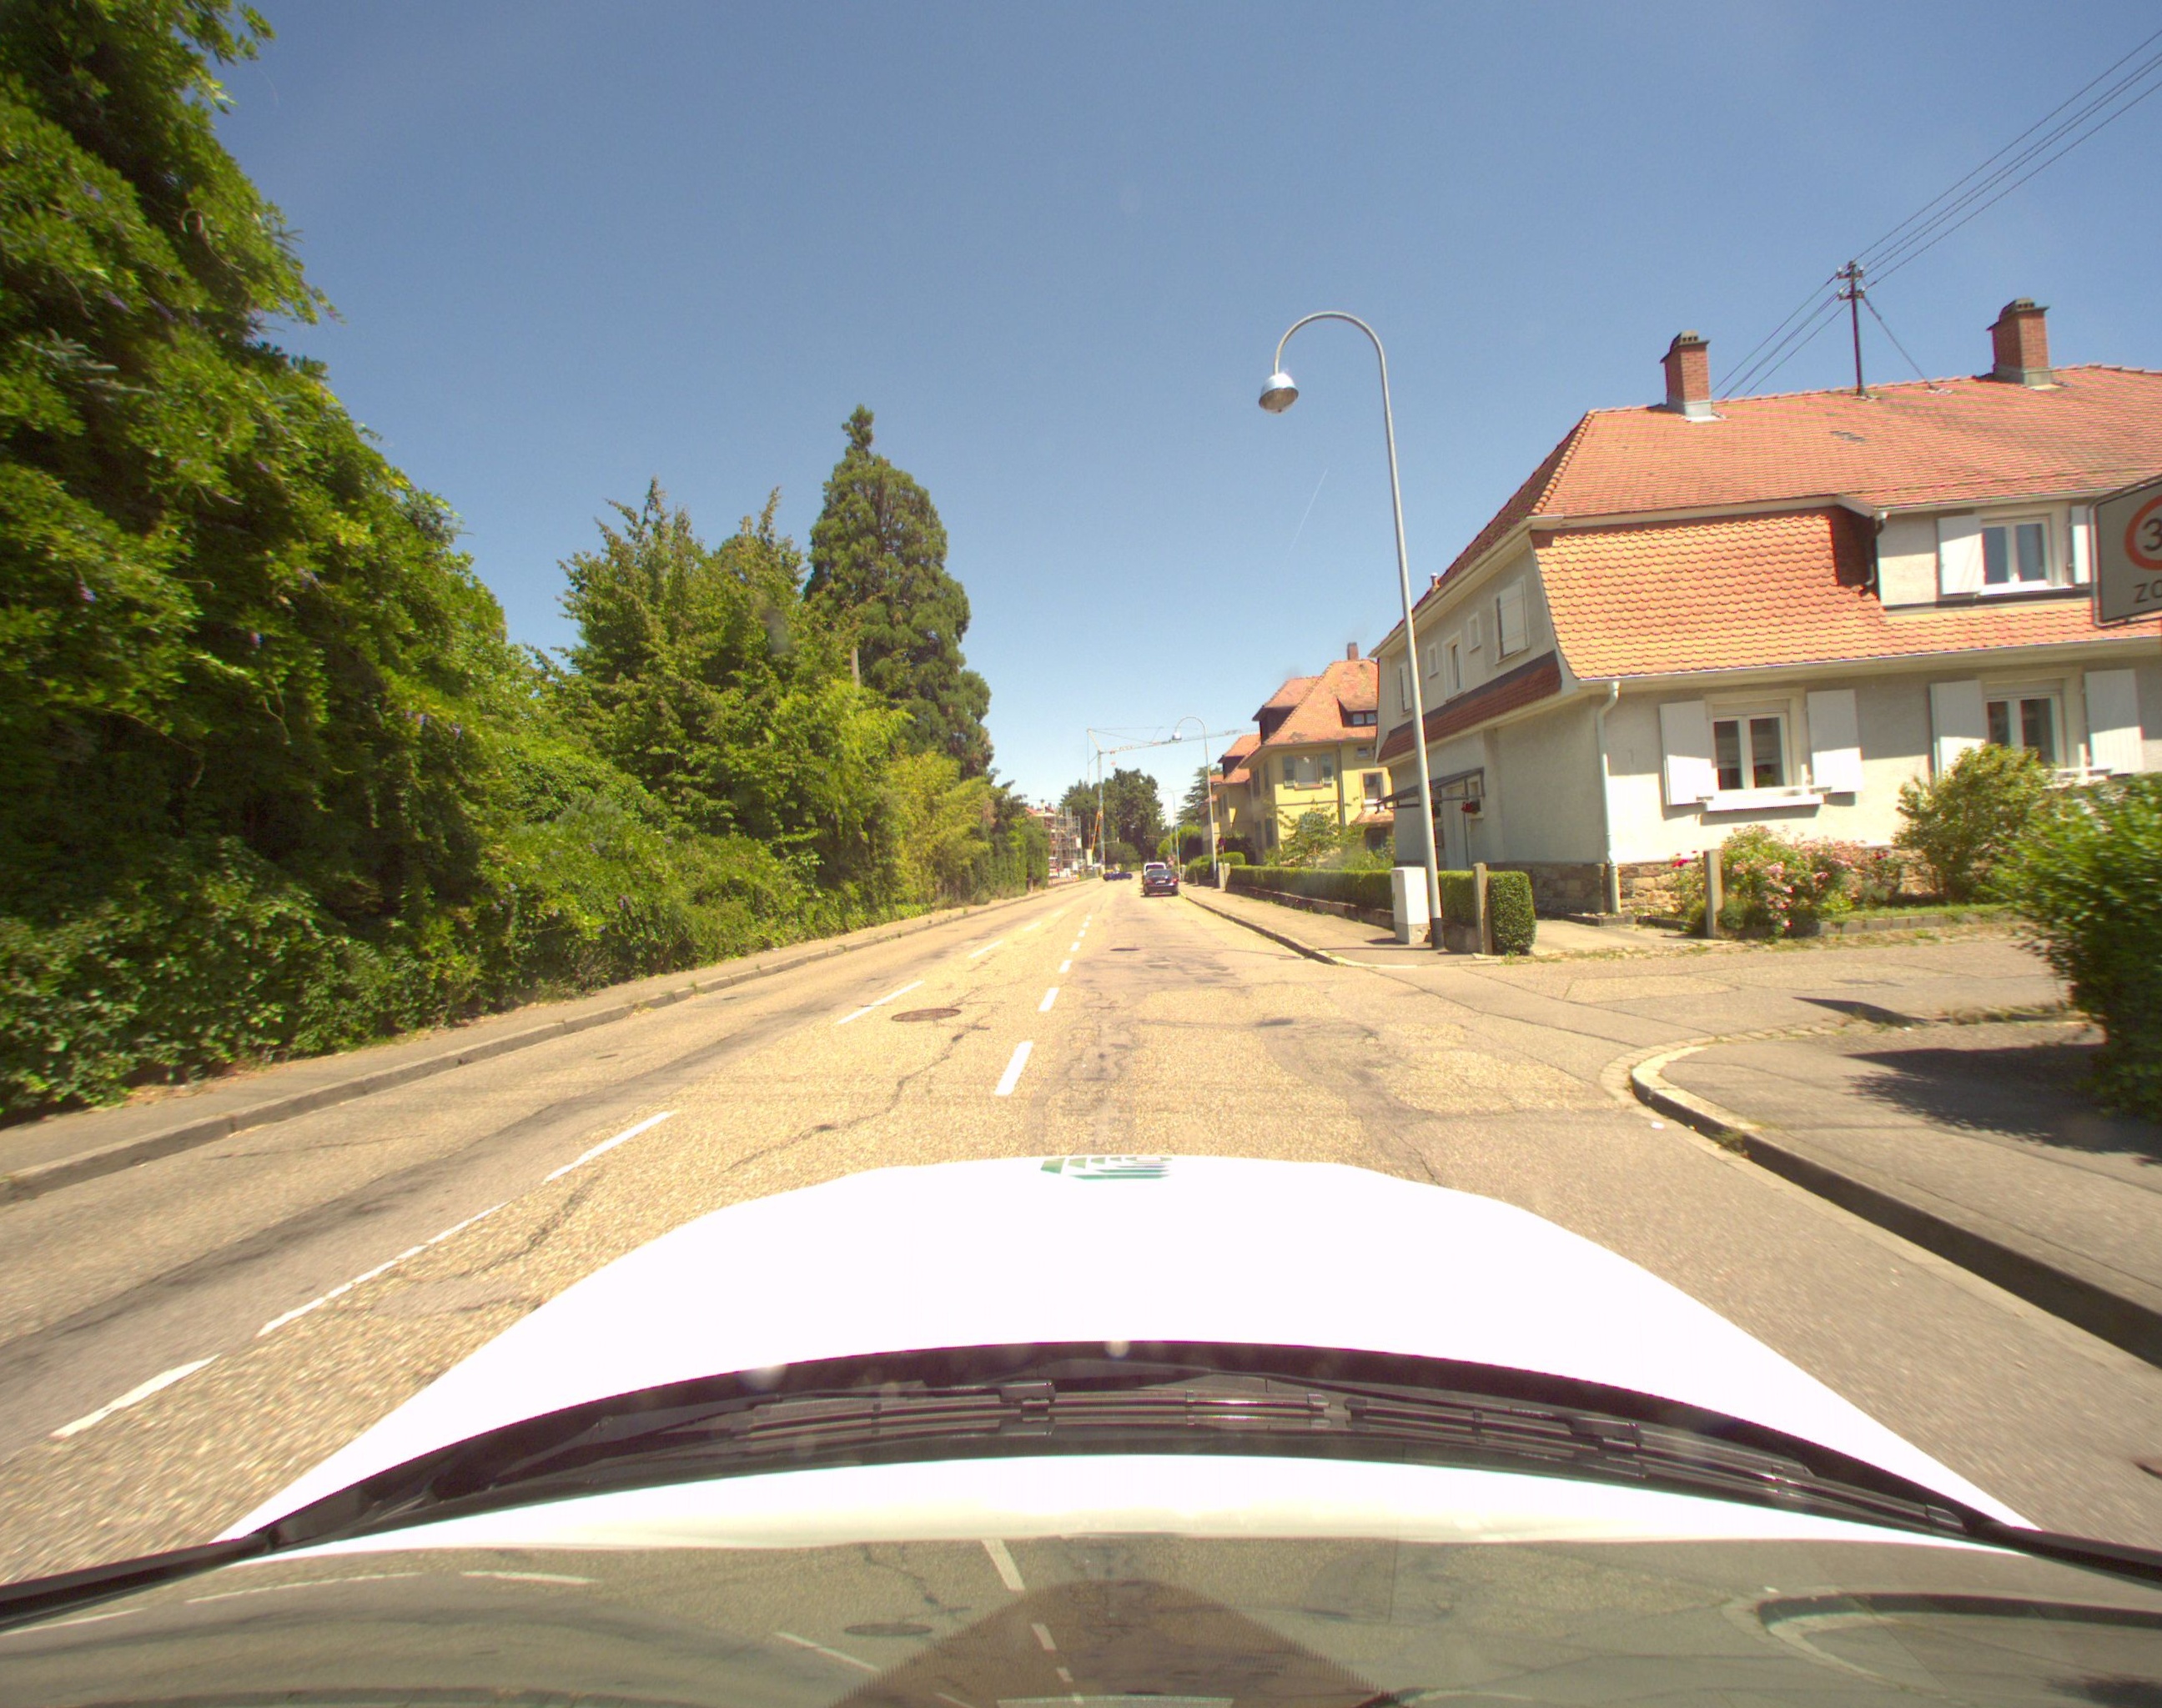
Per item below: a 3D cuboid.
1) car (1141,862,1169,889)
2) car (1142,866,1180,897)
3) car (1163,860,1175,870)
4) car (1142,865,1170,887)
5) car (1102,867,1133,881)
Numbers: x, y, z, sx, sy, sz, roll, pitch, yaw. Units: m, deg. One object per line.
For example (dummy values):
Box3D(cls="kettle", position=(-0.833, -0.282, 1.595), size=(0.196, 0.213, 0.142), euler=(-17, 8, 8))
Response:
Box3D(cls="car", position=(5.636, 1.624, 62.721), size=(1.985, 1.901, 4.827), euler=(-2, -1, 4))
Box3D(cls="car", position=(4.139, 1.438, 42.690), size=(1.686, 1.419, 4.554), euler=(-4, -2, 3))
Box3D(cls="car", position=(17.744, 2.221, 164.135), size=(1.981, 1.662, 4.012), euler=(-5, -1, 11))
Box3D(cls="car", position=(5.279, 1.537, 57.791), size=(1.754, 1.451, 3.651), euler=(-4, -1, 3))
Box3D(cls="car", position=(4.983, 2.761, 110.928), size=(4.024, 1.468, 1.940), euler=(-5, 0, -44))
